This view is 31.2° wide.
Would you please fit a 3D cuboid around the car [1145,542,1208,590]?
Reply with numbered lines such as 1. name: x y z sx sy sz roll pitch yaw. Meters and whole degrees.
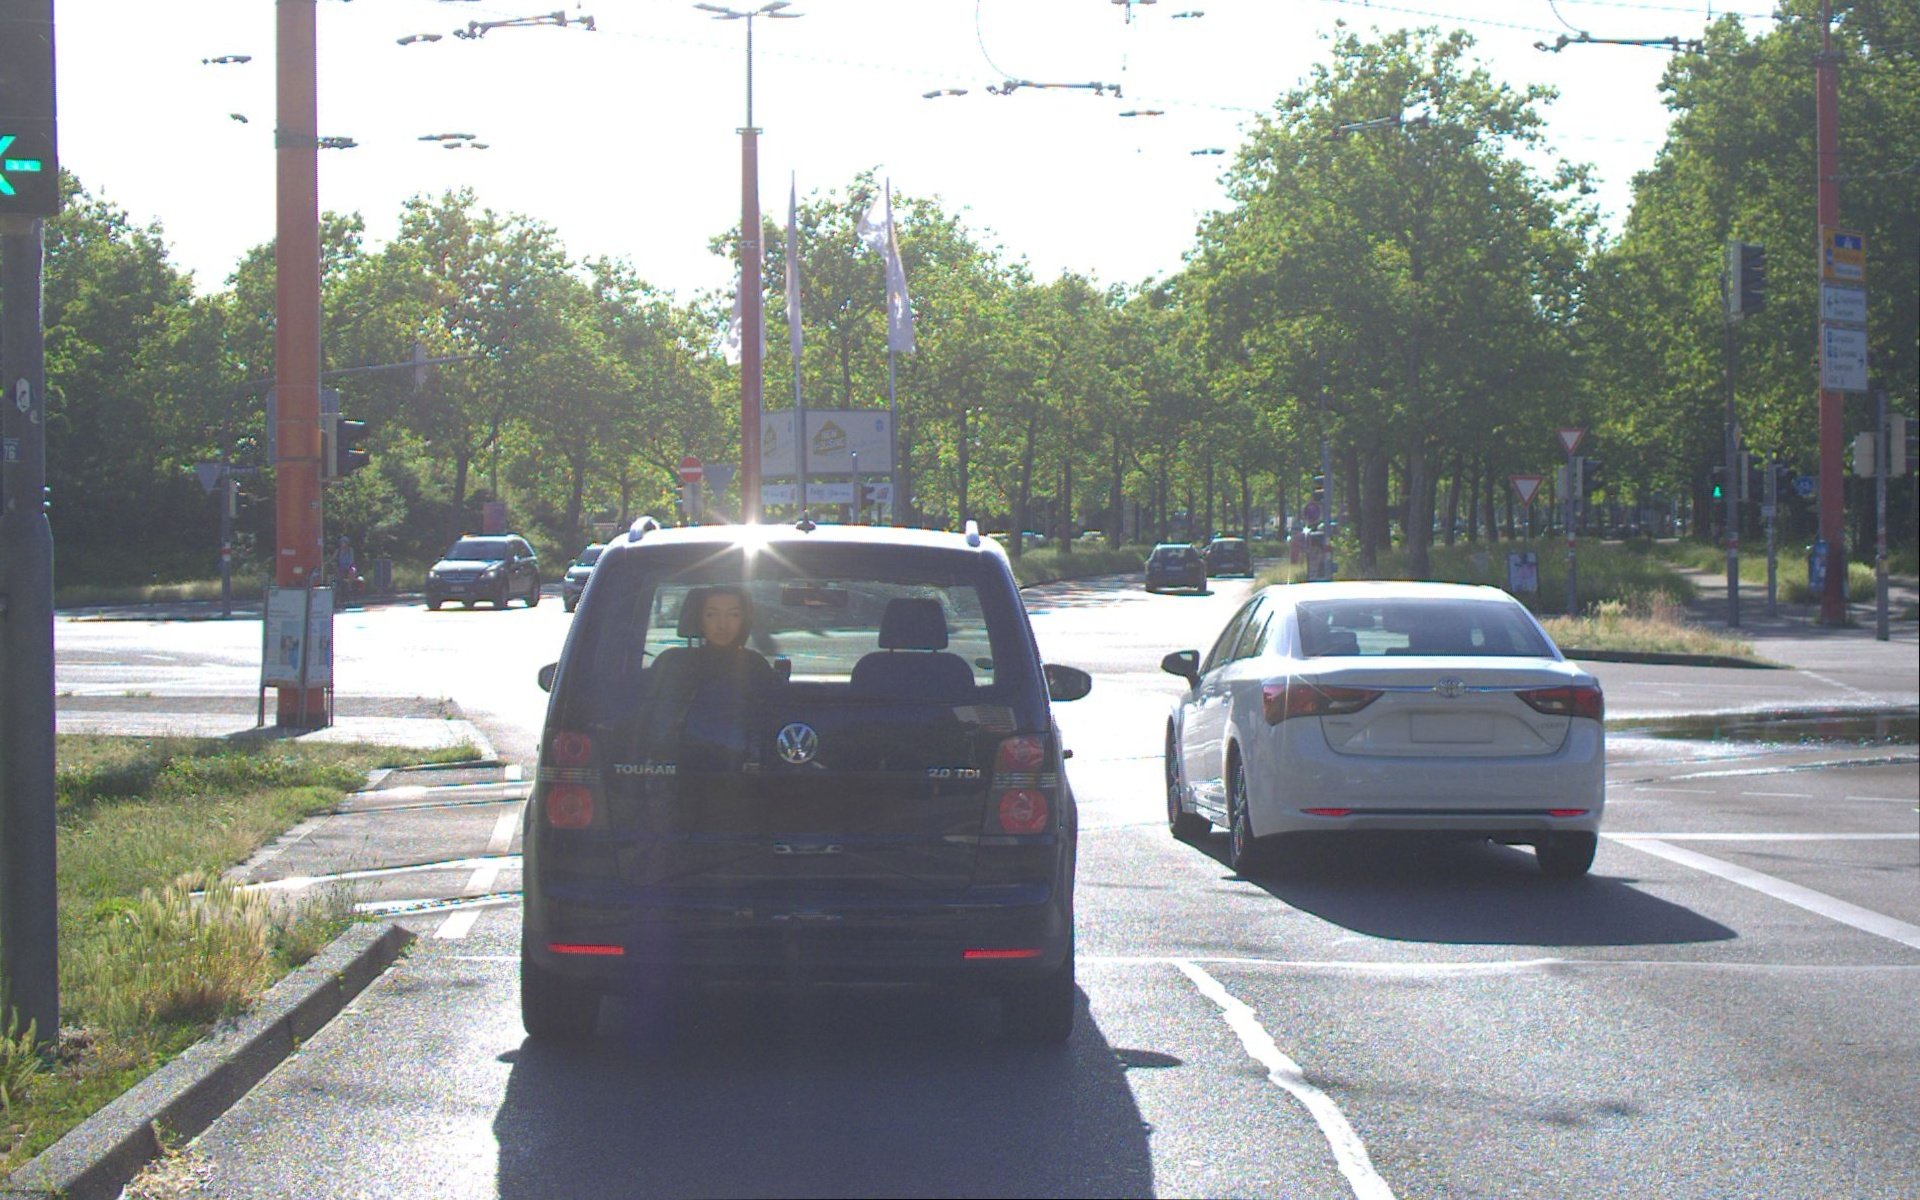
1. car: 6.577 -1.048 104.011 1.790 1.383 4.049 1 1 5

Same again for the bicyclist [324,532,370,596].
1. bicyclist: -15.256 -0.900 85.637 0.759 1.552 0.980 0 2 15

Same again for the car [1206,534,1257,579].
1. car: 10.370 -1.643 131.404 1.872 1.621 3.999 1 0 4

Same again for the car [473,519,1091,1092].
1. car: -0.593 0.539 12.318 1.767 1.638 4.924 0 1 -2

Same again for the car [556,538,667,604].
1. car: -8.371 -0.714 82.884 1.768 1.533 4.090 0 1 7

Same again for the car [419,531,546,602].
1. car: -11.778 -0.855 85.085 1.903 1.720 4.652 0 1 8

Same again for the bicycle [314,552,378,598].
1. bicycle: -15.279 -0.620 85.566 0.764 1.087 2.014 0 2 15

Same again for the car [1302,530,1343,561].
1. car: 18.039 -2.724 170.880 1.790 1.497 4.048 1 1 9

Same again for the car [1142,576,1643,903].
1. car: 2.130 0.630 18.169 1.767 1.459 4.367 0 1 -5
